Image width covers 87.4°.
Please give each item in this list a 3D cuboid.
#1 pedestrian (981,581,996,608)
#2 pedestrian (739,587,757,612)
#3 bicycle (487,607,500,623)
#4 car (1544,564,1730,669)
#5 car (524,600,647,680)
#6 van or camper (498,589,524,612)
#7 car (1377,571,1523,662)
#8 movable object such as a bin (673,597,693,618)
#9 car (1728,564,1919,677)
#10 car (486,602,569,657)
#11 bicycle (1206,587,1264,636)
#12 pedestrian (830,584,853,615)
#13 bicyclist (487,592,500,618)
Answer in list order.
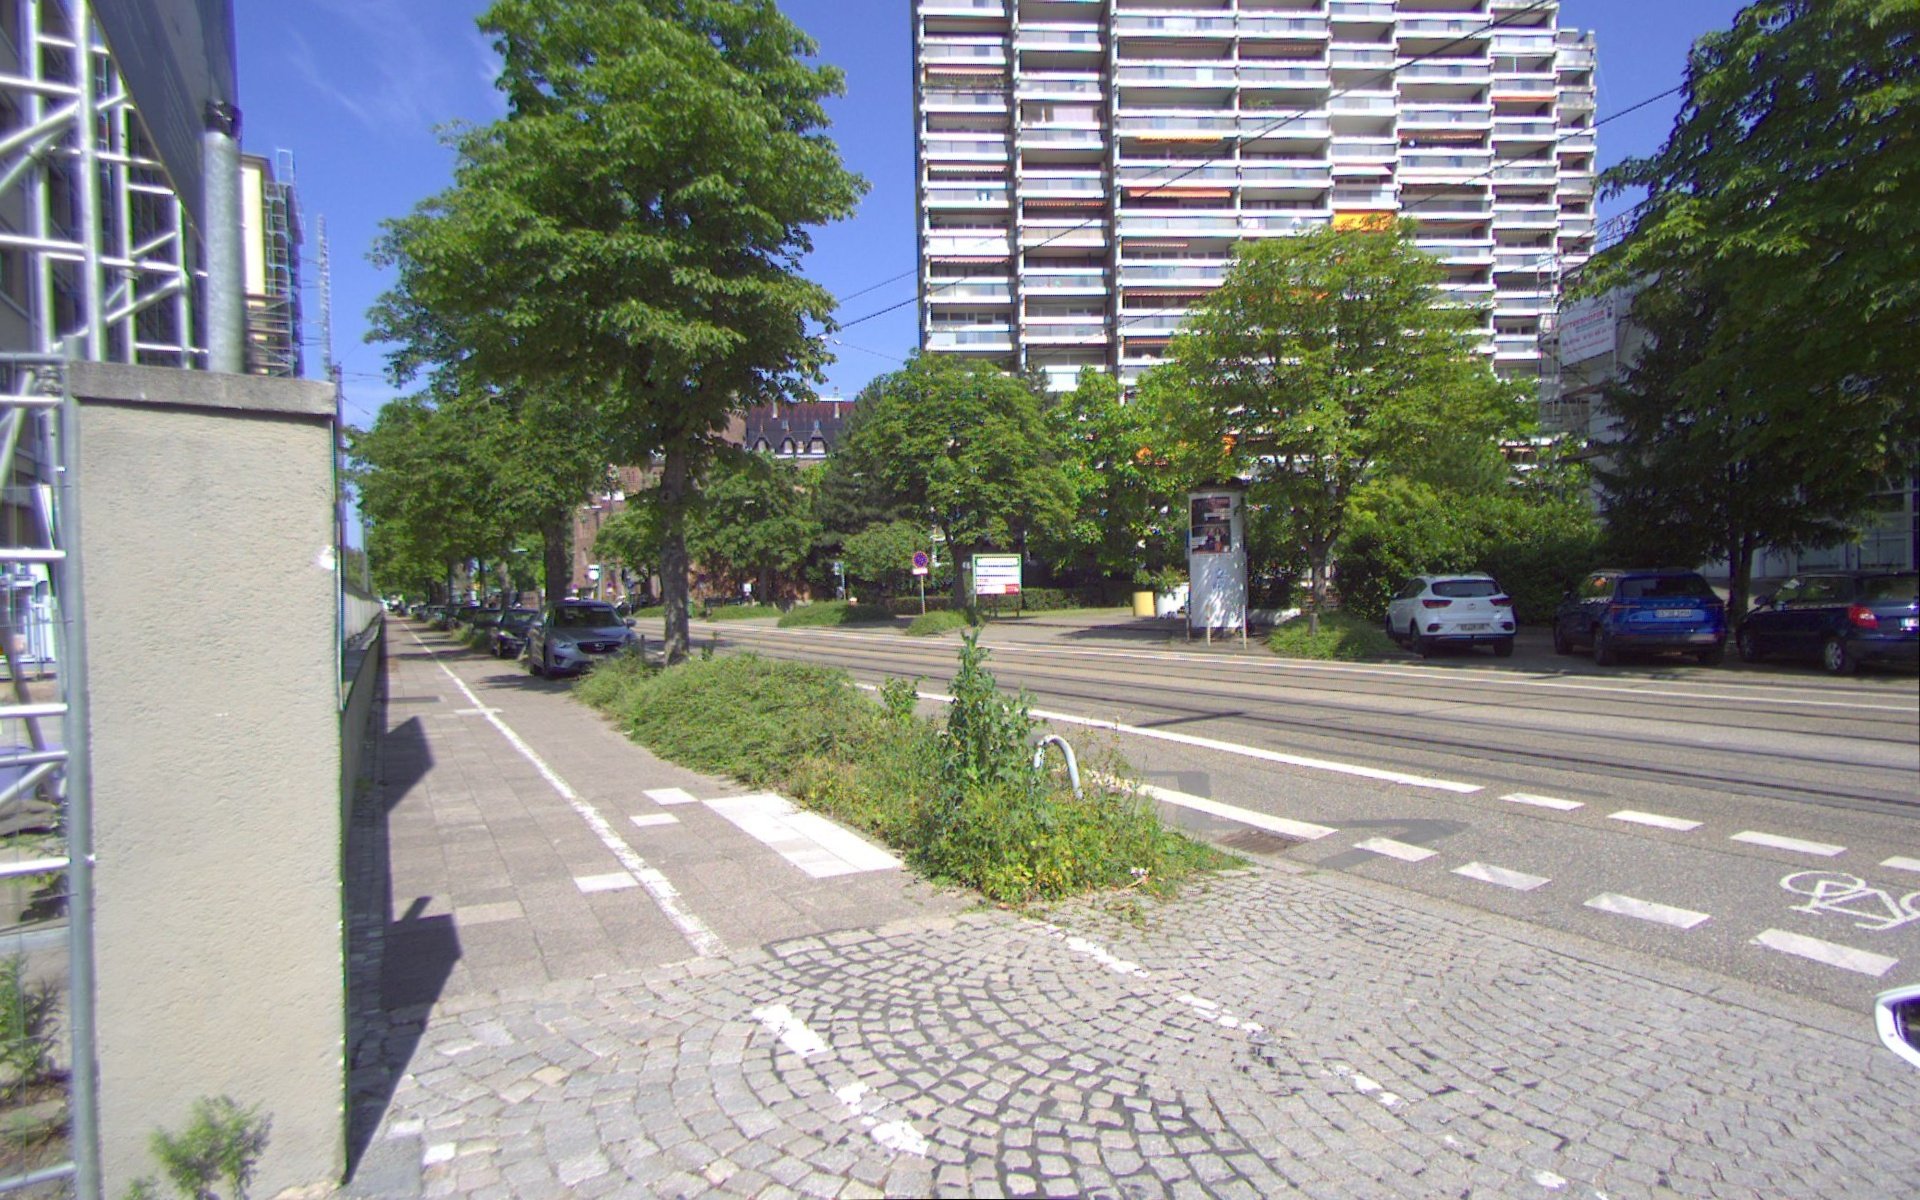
[{"bbox_3d":[1.255,-0.250,44.333,0.524,1.170,0.700,-1,1,-9],"label":"pedestrian"},{"bbox_3d":[-15.736,-0.025,74.635,1.046,1.822,1.256,0,0,-26],"label":"pedestrian"},{"bbox_3d":[-30.529,0.982,65.722,0.590,1.020,1.474,-1,1,-32],"label":"bicycle"},{"bbox_3d":[11.979,0.215,18.059,1.745,1.644,3.945,-2,2,18],"label":"car"},{"bbox_3d":[-8.139,0.781,21.638,1.800,1.514,4.074,-1,0,-30],"label":"car"},{"bbox_3d":[-53.757,0.102,120.220,2.027,2.655,5.812,-1,1,-31],"label":"van or camper"},{"bbox_3d":[10.048,0.291,20.919,1.783,1.627,3.947,-3,0,12],"label":"car"},{"bbox_3d":[-19.639,0.512,71.205,1.249,1.473,1.073,-1,1,-25],"label":"movable object such as a bin"},{"bbox_3d":[13.531,0.257,15.399,1.545,1.551,3.459,-1,1,14],"label":"car"},{"bbox_3d":[-12.995,0.827,30.059,1.800,1.473,3.967,-1,0,-30],"label":"car"},{"bbox_3d":[7.734,0.309,28.281,0.541,1.326,1.605,-1,1,-35],"label":"bicycle"},{"bbox_3d":[-7.071,-0.024,59.841,1.046,1.822,1.256,0,0,-27],"label":"pedestrian"},{"bbox_3d":[-30.478,0.321,65.605,0.625,1.628,0.696,-2,1,-32],"label":"bicyclist"}]
